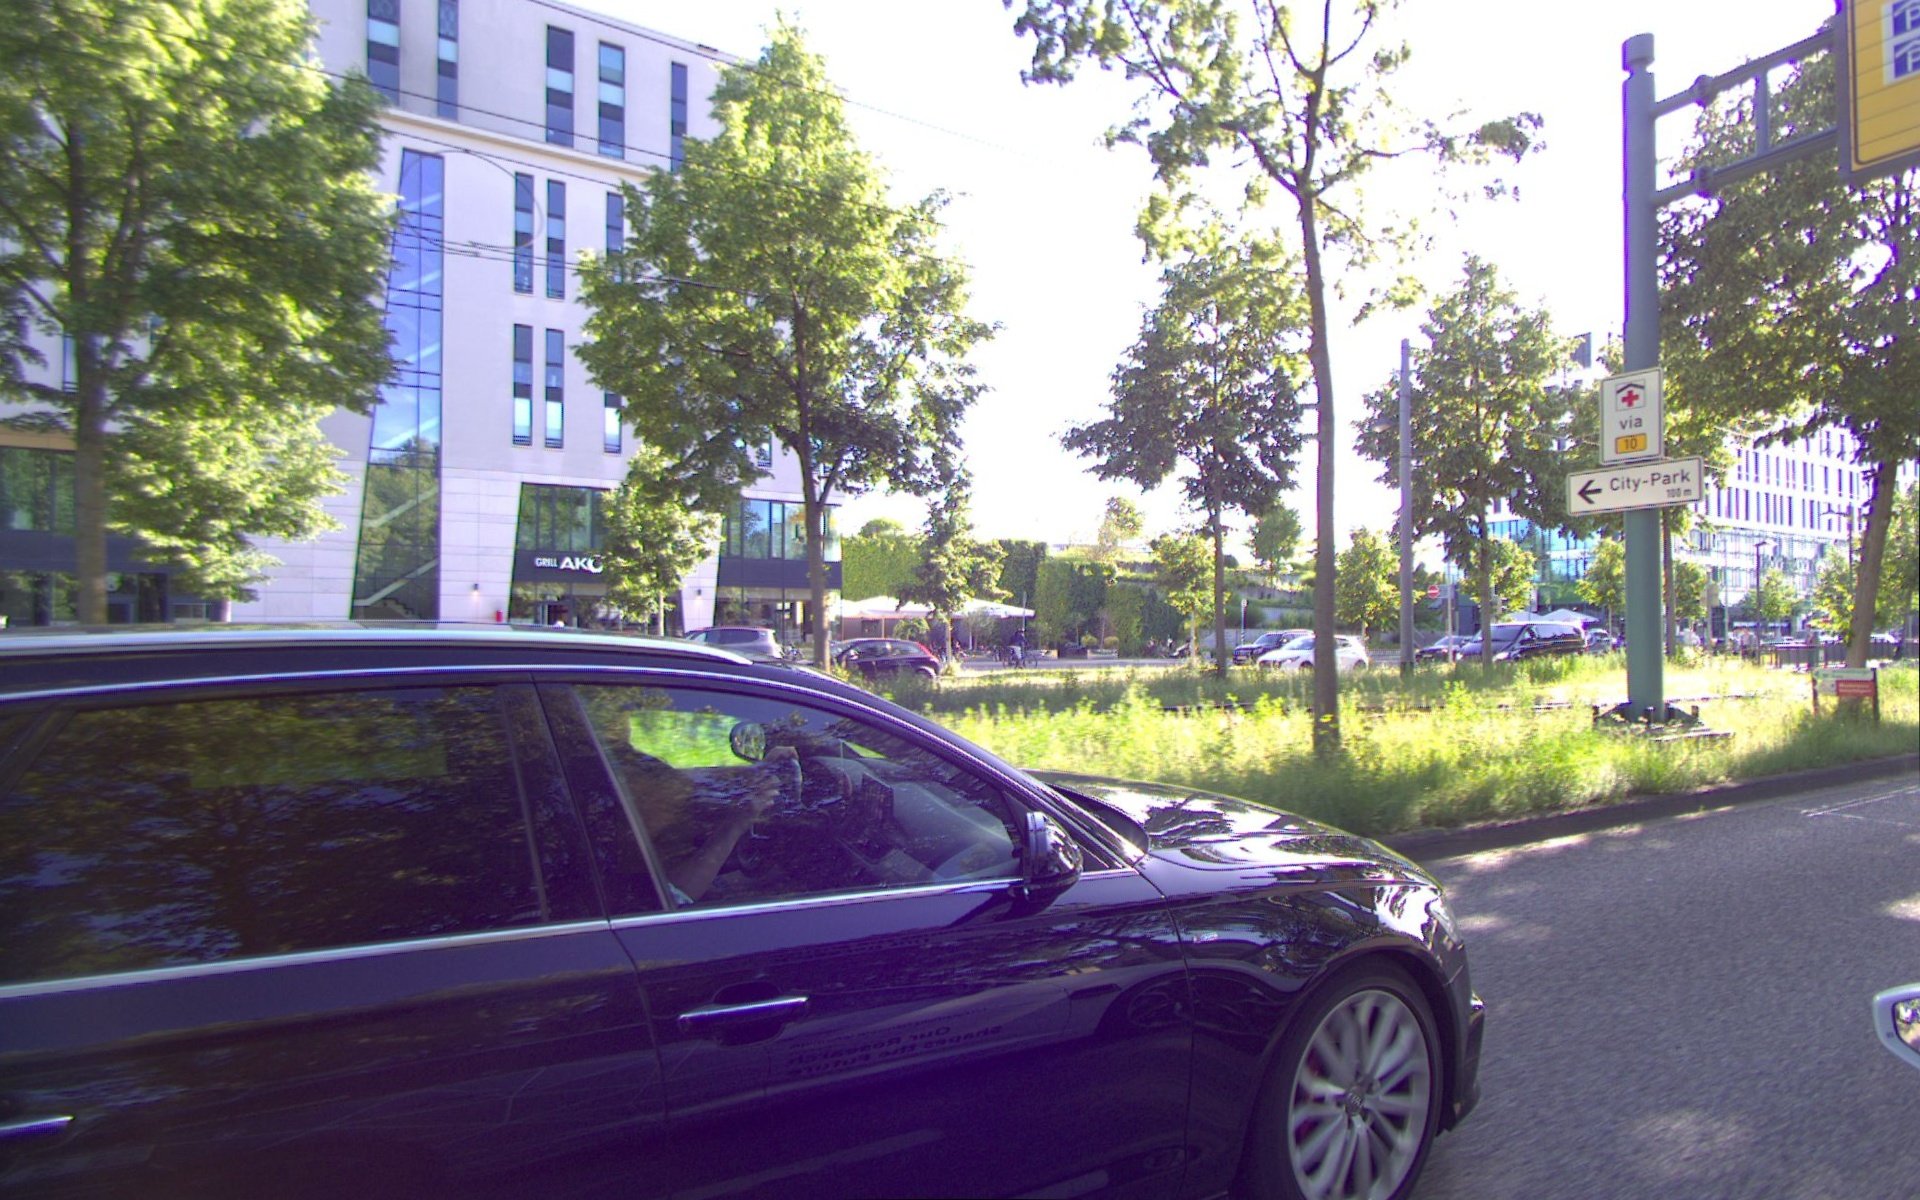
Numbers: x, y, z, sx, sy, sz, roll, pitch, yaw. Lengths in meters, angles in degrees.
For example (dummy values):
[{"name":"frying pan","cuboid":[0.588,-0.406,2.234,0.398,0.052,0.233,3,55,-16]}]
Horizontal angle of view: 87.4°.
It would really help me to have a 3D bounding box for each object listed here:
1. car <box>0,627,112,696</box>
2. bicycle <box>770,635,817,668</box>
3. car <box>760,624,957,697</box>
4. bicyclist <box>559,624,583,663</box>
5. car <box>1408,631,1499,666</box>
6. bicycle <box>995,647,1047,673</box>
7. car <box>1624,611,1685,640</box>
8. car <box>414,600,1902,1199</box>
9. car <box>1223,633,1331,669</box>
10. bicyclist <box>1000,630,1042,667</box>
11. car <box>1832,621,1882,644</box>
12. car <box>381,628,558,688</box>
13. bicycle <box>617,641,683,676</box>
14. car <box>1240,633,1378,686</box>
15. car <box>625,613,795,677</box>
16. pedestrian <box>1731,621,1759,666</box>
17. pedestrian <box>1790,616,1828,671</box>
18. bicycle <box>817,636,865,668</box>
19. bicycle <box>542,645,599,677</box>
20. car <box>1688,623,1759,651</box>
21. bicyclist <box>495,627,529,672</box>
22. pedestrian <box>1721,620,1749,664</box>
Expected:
[{"name":"car","cuboid":[-22.273,1.379,22.748,4.407,1.460,1.982,2,0,-33]},{"name":"bicycle","cuboid":[-6.625,2.062,40.091,1.806,1.269,0.589,1,0,-8]},{"name":"car","cuboid":[-2.410,1.416,24.117,4.269,1.548,1.984,2,0,-30]},{"name":"bicyclist","cuboid":[-13.218,1.484,34.143,0.710,1.320,0.366,1,0,-29]},{"name":"car","cuboid":[25.035,2.453,50.957,4.555,1.642,1.871,2,0,-29]},{"name":"bicycle","cuboid":[2.442,2.391,40.236,2.163,1.014,0.494,2,0,-31]},{"name":"car","cuboid":[52.327,1.923,75.634,4.508,2.040,1.985,2,0,-29]},{"name":"car","cuboid":[0.998,0.786,3.464,5.025,1.500,1.943,1,0,-30]},{"name":"car","cuboid":[13.868,2.213,43.854,4.555,1.454,1.871,2,0,-29]},{"name":"bicyclist","cuboid":[2.449,1.943,40.234,1.641,1.424,0.486,2,0,-31]},{"name":"car","cuboid":[81.000,2.934,90.698,4.508,2.040,1.985,2,0,-29]},{"name":"car","cuboid":[-13.438,1.560,27.585,4.215,1.460,1.949,2,0,-30]},{"name":"bicycle","cuboid":[-11.485,2.163,37.229,2.215,1.214,0.729,2,0,-31]},{"name":"car","cuboid":[11.363,1.896,32.705,4.113,1.592,1.986,1,-1,-28]},{"name":"car","cuboid":[-7.718,1.371,31.150,4.724,1.795,1.982,2,0,-32]},{"name":"pedestrian","cuboid":[27.365,1.526,35.025,0.580,1.538,0.548,1,0,-25]},{"name":"pedestrian","cuboid":[29.229,1.489,34.579,0.718,1.860,0.816,1,0,-32]},{"name":"bicycle","cuboid":[-4.868,2.124,41.099,1.818,1.269,0.585,2,0,-31]},{"name":"bicycle","cuboid":[-13.239,2.065,34.144,1.778,1.030,0.377,2,0,-29]},{"name":"car","cuboid":[48.998,2.356,64.437,4.555,1.694,1.985,2,0,-29]},{"name":"bicyclist","cuboid":[-14.468,1.599,32.461,0.944,1.438,0.428,1,0,-29]},{"name":"pedestrian","cuboid":[27.628,1.494,35.809,0.595,1.516,0.541,1,0,-26]}]
